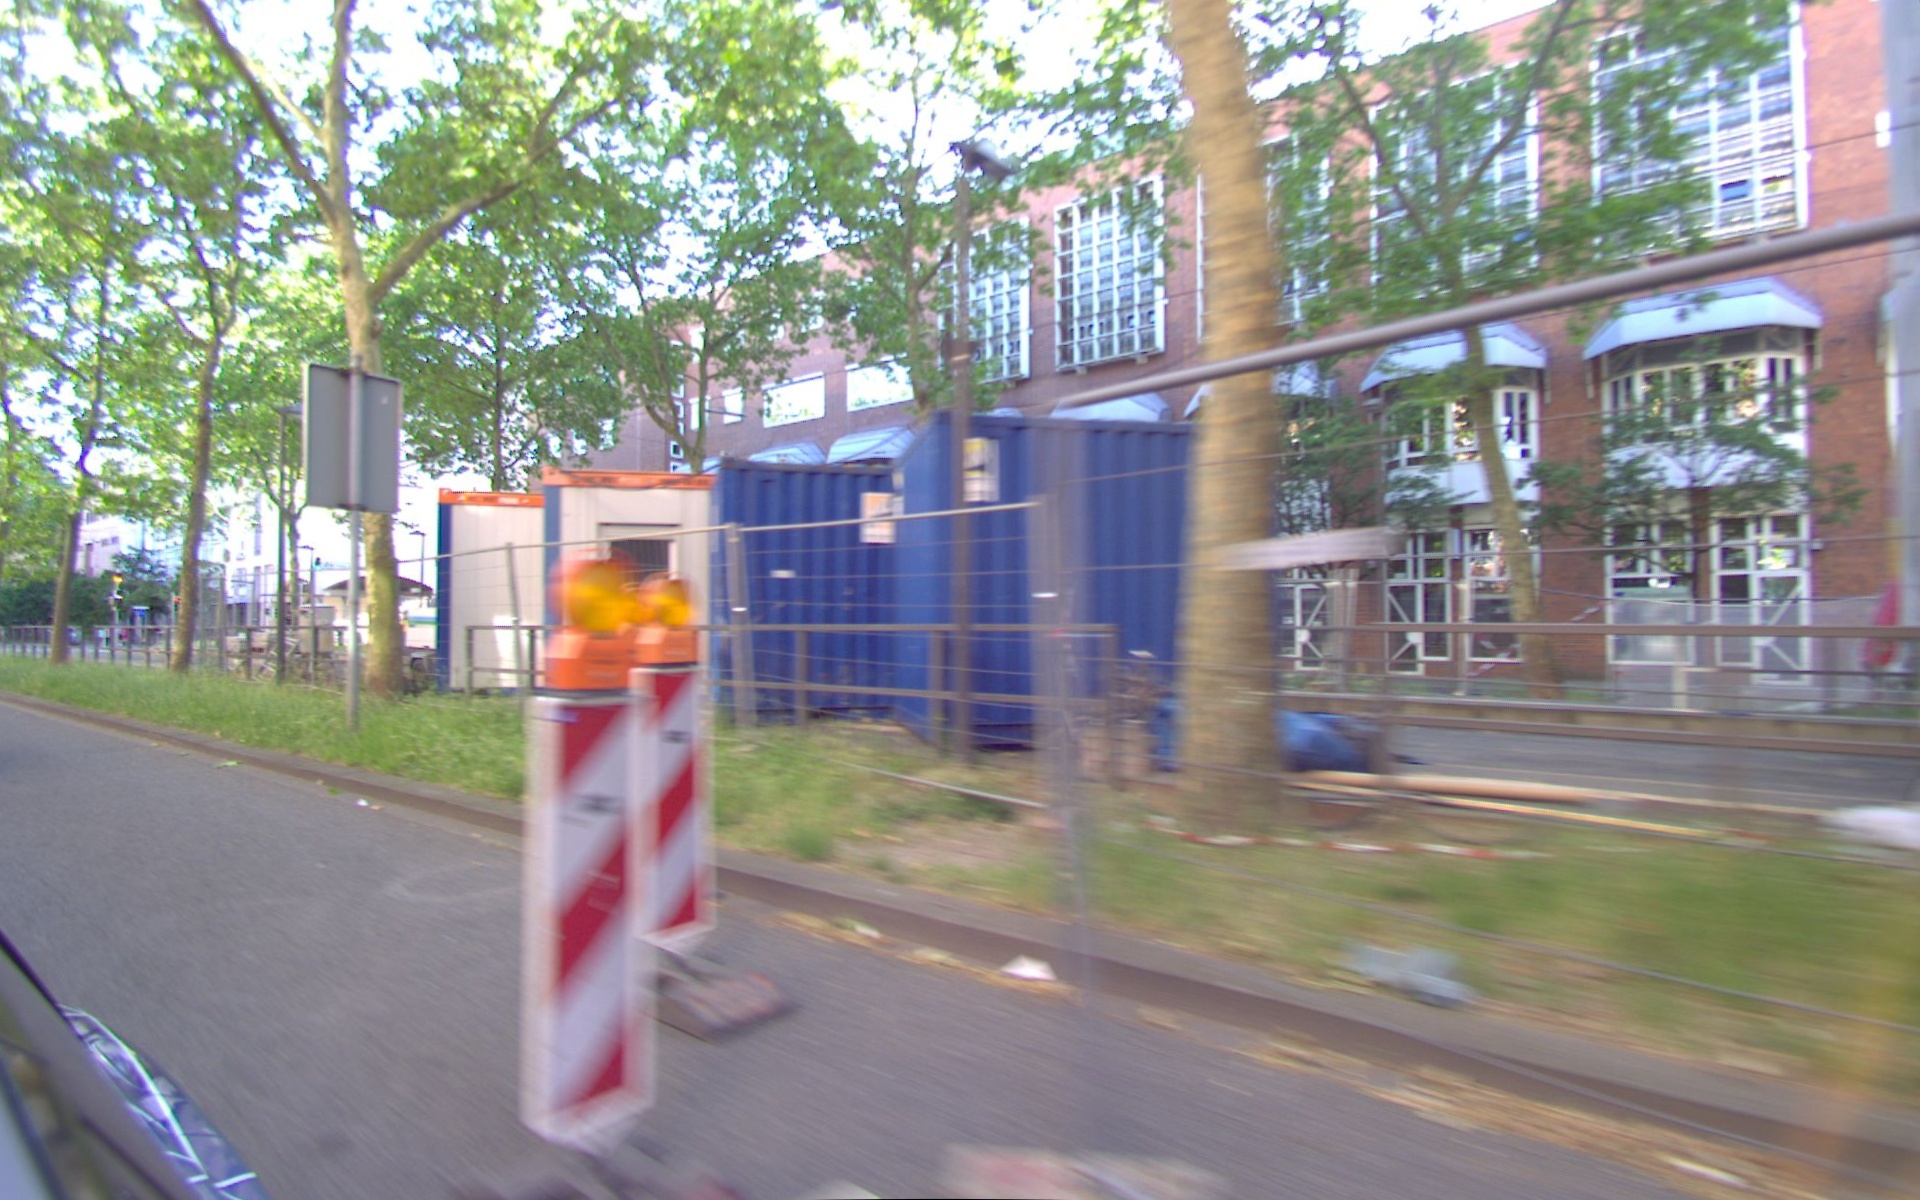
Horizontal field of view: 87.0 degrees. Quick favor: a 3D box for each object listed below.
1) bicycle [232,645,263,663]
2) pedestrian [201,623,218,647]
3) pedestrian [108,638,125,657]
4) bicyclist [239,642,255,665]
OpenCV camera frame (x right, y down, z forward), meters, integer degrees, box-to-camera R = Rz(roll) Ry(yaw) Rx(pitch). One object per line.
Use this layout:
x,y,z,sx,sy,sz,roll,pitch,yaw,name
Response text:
-52.357,3.998,74.363,1.797,1.271,0.772,-1,-1,8,bicycle
-63.452,2.932,85.557,0.875,2.029,0.993,-1,-1,40,pedestrian
-71.929,4.024,86.300,0.876,1.613,0.992,-1,-1,44,pedestrian
-52.413,3.919,74.372,0.661,1.661,0.717,-1,-1,8,bicyclist
